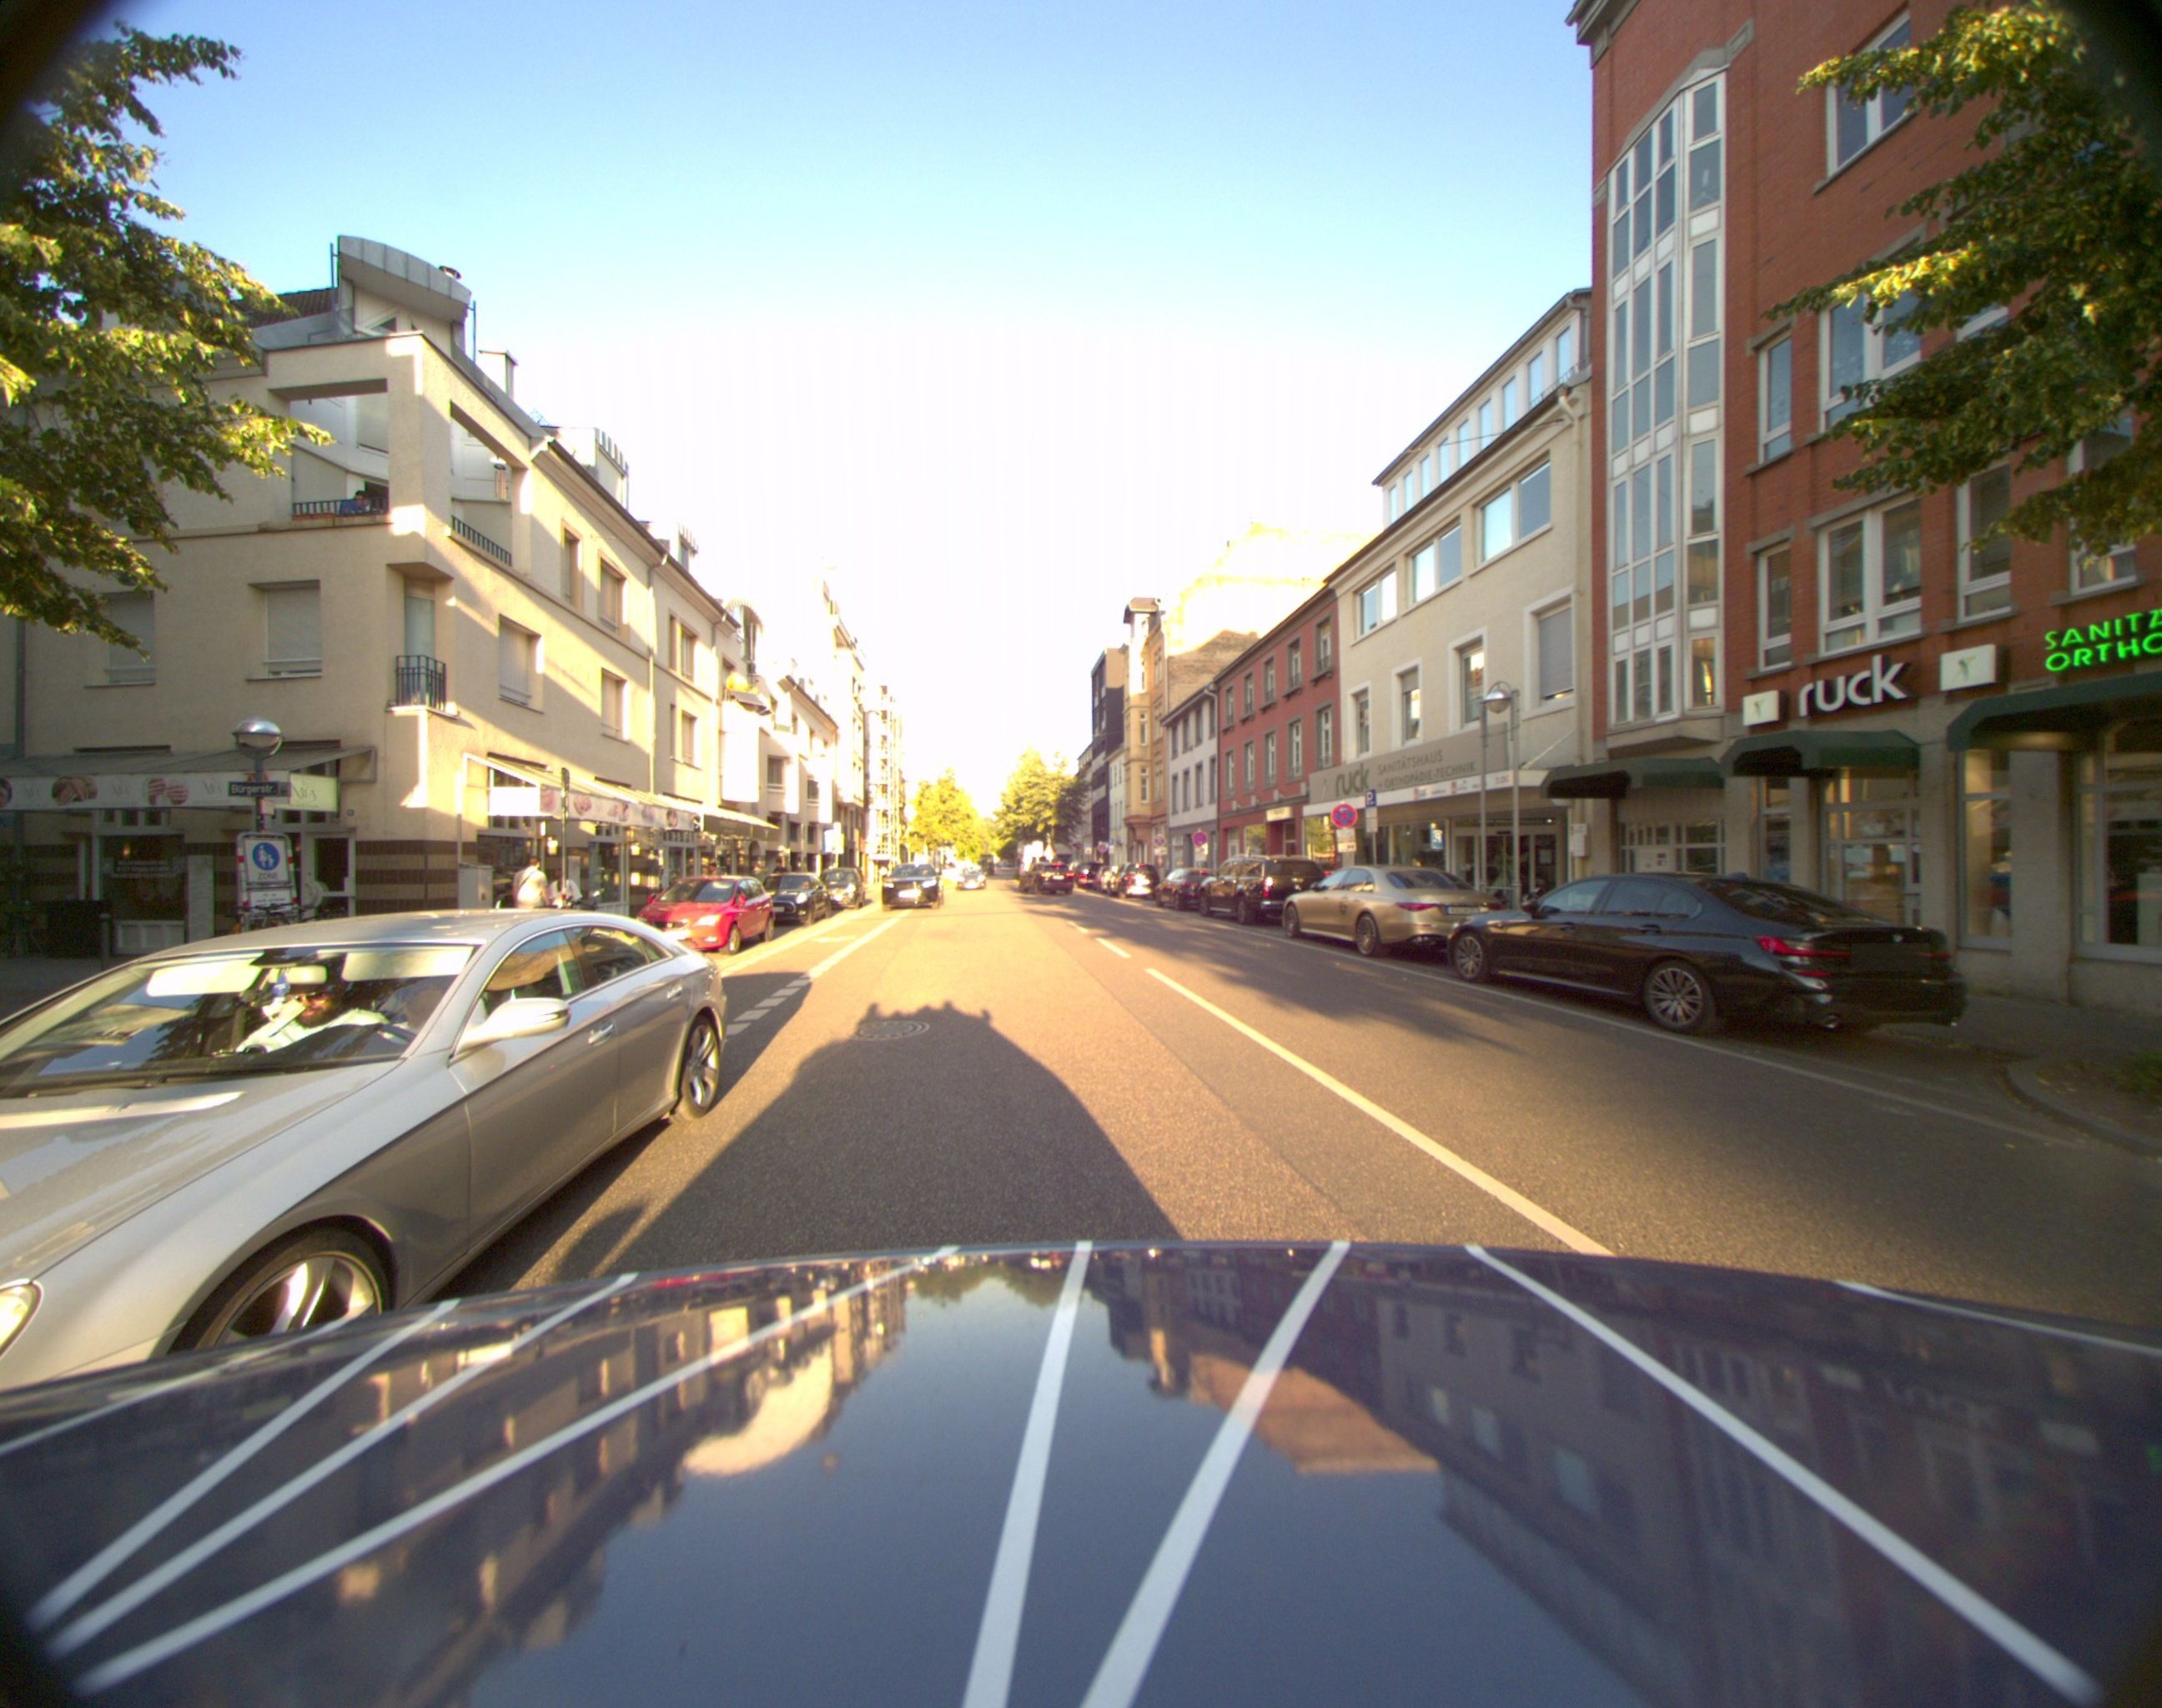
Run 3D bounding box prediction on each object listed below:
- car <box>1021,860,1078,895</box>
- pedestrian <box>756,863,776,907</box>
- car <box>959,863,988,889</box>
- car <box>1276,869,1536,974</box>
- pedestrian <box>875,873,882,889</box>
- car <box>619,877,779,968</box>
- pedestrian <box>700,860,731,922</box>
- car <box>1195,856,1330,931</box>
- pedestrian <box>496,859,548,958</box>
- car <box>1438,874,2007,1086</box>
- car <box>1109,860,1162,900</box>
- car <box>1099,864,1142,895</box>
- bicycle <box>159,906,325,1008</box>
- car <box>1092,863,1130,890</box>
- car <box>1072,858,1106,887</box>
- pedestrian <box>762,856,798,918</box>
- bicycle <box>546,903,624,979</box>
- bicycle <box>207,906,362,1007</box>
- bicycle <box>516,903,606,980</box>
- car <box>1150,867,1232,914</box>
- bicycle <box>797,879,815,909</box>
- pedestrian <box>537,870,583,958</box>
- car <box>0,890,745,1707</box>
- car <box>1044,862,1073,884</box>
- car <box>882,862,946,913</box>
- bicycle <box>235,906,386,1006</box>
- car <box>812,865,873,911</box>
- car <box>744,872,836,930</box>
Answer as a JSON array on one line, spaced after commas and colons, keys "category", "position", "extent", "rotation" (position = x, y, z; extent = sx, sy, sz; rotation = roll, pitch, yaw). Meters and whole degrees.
[{"category": "car", "position": [-1.672, 1.122, 38.486], "extent": [1.737, 1.665, 4.288], "rotation": [0, 0, -19]}, {"category": "pedestrian", "position": [-12.946, 1.274, 31.200], "extent": [0.576, 1.789, 0.450], "rotation": [-2, 1, -7]}, {"category": "car", "position": [-6.605, 1.309, 46.765], "extent": [1.623, 1.465, 3.686], "rotation": [-2, 0, -8]}, {"category": "car", "position": [5.359, 1.031, 13.516], "extent": [2.000, 1.463, 5.104], "rotation": [1, -1, -6]}, {"category": "pedestrian", "position": [-16.509, 2.217, 61.973], "extent": [0.492, 1.256, 0.421], "rotation": [-2, 1, -7]}, {"category": "car", "position": [-7.195, 1.216, 14.741], "extent": [1.594, 1.425, 3.923], "rotation": [0, 0, -8]}, {"category": "pedestrian", "position": [-10.418, 1.049, 21.662], "extent": [0.631, 1.739, 0.669], "rotation": [0, 0, -8]}, {"category": "car", "position": [4.647, 0.961, 20.335], "extent": [1.726, 1.768, 4.935], "rotation": [1, -1, -9]}, {"category": "pedestrian", "position": [-10.120, 0.975, 13.767], "extent": [0.545, 1.748, 0.502], "rotation": [2, 0, -8]}, {"category": "car", "position": [5.880, 1.009, 7.916], "extent": [1.726, 1.464, 4.538], "rotation": [2, -1, -7]}, {"category": "car", "position": [2.437, 1.151, 35.114], "extent": [1.726, 1.673, 4.047], "rotation": [2, -1, -6]}, {"category": "car", "position": [2.045, 1.306, 40.125], "extent": [1.690, 1.461, 3.689], "rotation": [2, -1, -6]}, {"category": "bicycle", "position": [-11.090, 1.311, 10.140], "extent": [0.322, 1.098, 1.878], "rotation": [-1, 0, -7]}, {"category": "car", "position": [1.684, 1.296, 44.187], "extent": [1.674, 1.448, 3.563], "rotation": [2, -1, -6]}, {"category": "car", "position": [0.453, 1.138, 47.873], "extent": [1.674, 1.763, 3.563], "rotation": [2, -1, -6]}, {"category": "pedestrian", "position": [-9.491, 1.034, 23.978], "extent": [0.779, 1.872, 0.669], "rotation": [-4, 1, -8]}, {"category": "bicycle", "position": [-8.015, 1.368, 12.345], "extent": [0.315, 1.040, 1.664], "rotation": [0, 0, -5]}, {"category": "bicycle", "position": [-10.606, 1.319, 10.210], "extent": [0.291, 1.098, 1.886], "rotation": [-1, 0, -7]}, {"category": "bicycle", "position": [-8.357, 1.364, 12.296], "extent": [0.315, 1.040, 1.881], "rotation": [0, 0, -5]}, {"category": "car", "position": [3.742, 1.214, 26.541], "extent": [1.707, 1.429, 4.012], "rotation": [2, -1, -8]}, {"category": "bicycle", "position": [-10.621, 1.511, 29.339], "extent": [0.296, 1.079, 1.462], "rotation": [-1, 0, -7]}, {"category": "pedestrian", "position": [-9.599, 1.101, 14.019], "extent": [0.521, 1.583, 0.408], "rotation": [2, 0, -8]}, {"category": "car", "position": [-3.013, 1.035, 3.101], "extent": [1.748, 1.393, 4.635], "rotation": [-2, 2, -8]}, {"category": "car", "position": [-1.627, 1.333, 54.924], "extent": [1.674, 1.512, 3.562], "rotation": [1, 0, -8]}, {"category": "car", "position": [-5.959, 1.150, 27.539], "extent": [1.891, 1.626, 4.224], "rotation": [-2, 0, -8]}, {"category": "bicycle", "position": [-10.297, 1.311, 10.248], "extent": [0.322, 1.098, 1.878], "rotation": [-1, 0, -7]}, {"category": "car", "position": [-9.067, 1.239, 29.179], "extent": [1.622, 1.583, 3.923], "rotation": [-1, 0, -8]}, {"category": "car", "position": [-8.202, 1.273, 21.744], "extent": [1.622, 1.425, 3.923], "rotation": [0, 0, -8]}]
